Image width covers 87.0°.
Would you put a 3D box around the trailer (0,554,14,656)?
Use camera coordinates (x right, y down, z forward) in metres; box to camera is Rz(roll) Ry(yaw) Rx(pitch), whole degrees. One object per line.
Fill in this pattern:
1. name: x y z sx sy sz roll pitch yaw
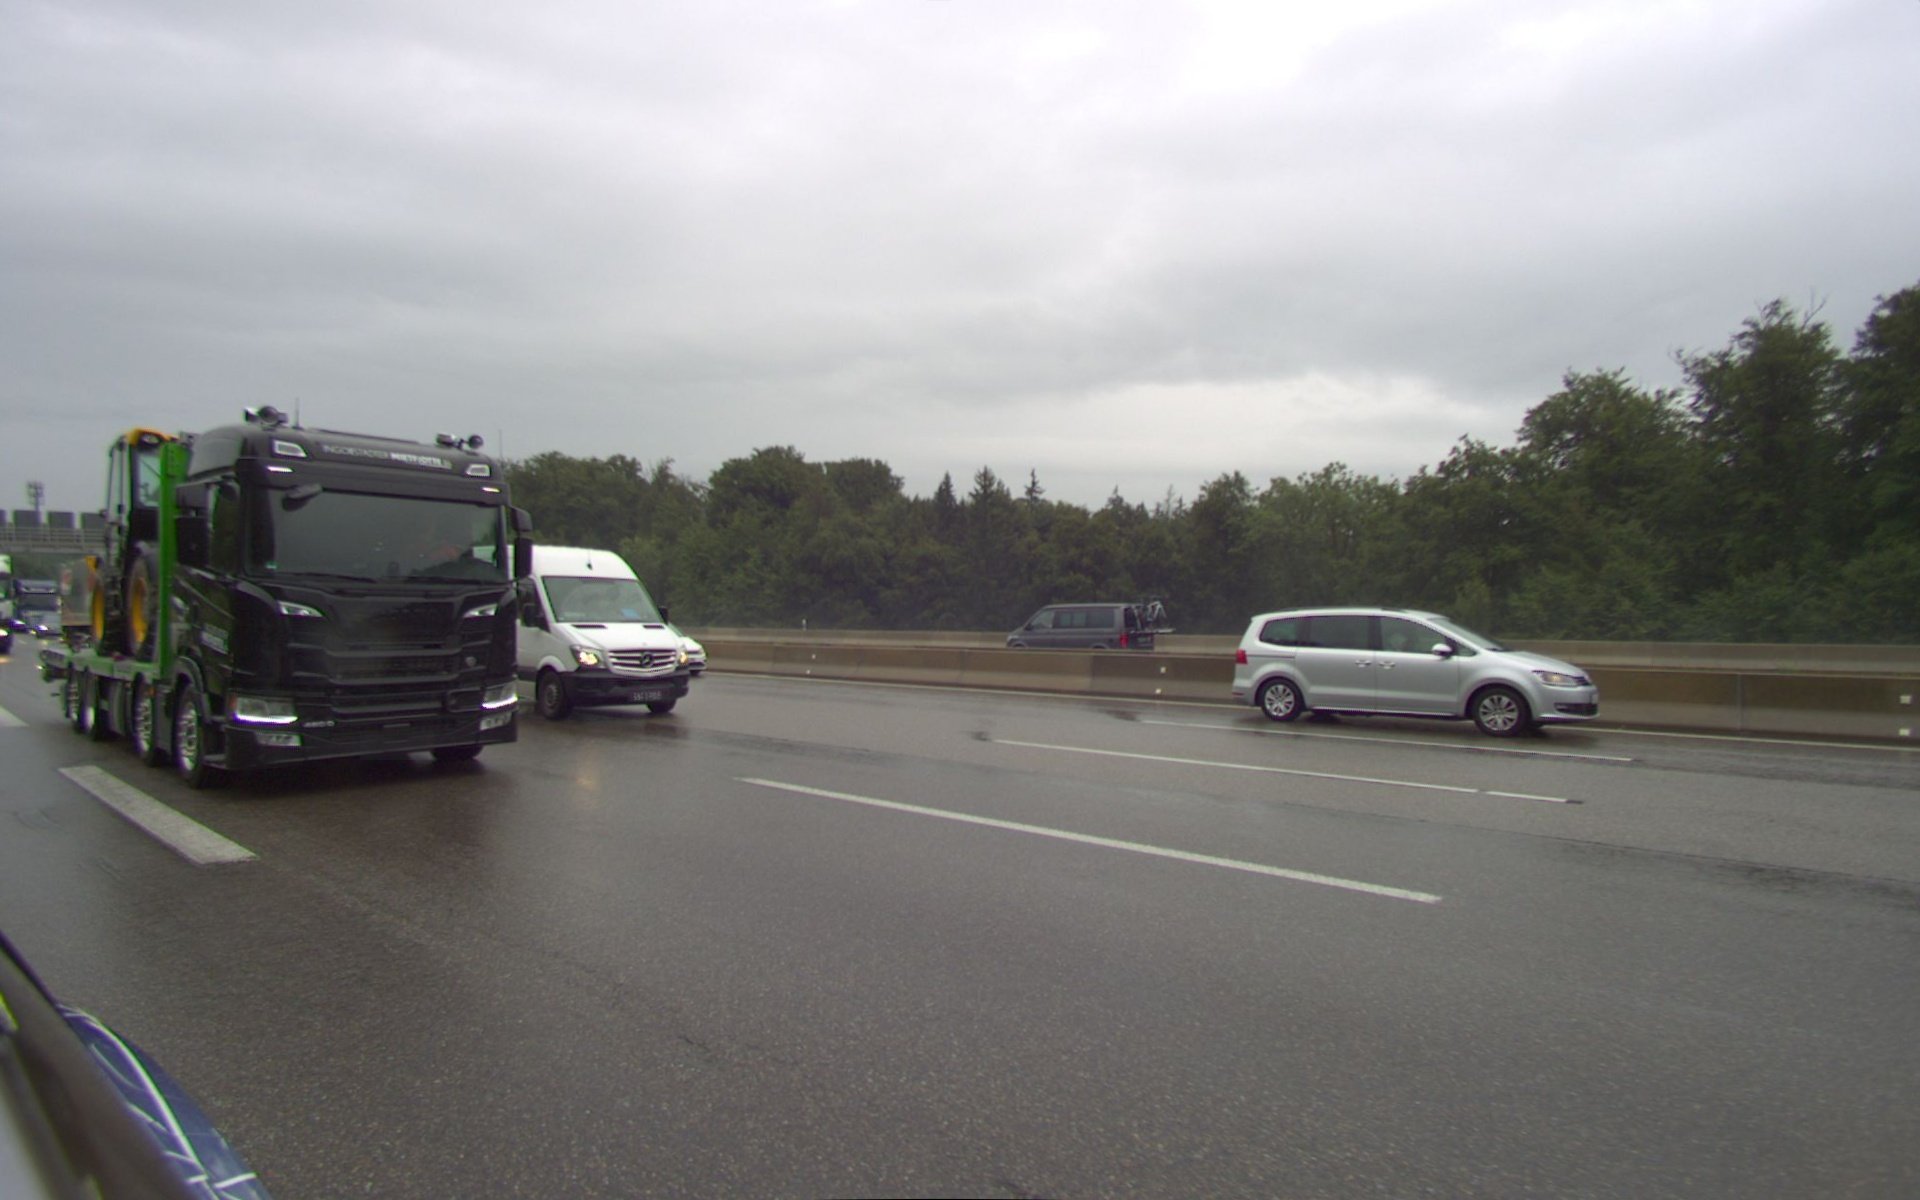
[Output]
1. trailer: -45.342 0.197 46.076 2.885 4.237 13.643 0 0 -45

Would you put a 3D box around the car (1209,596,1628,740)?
1. car: 6.330 0.866 14.409 5.079 1.696 1.973 -1 -2 41

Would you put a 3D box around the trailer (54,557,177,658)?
1. trailer: -37.531 0.342 44.695 13.678 3.893 2.598 -1 -1 44

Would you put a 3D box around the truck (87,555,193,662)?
1. truck: -32.084 0.334 39.559 4.589 3.893 2.598 -1 -1 43

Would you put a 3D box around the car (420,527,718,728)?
1. car: -6.415 0.380 16.142 5.845 2.649 2.191 0 -1 44

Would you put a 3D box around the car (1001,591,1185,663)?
1. car: 3.946 0.727 30.628 5.245 1.892 2.031 1 4 41

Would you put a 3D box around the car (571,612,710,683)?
1. car: -8.626 1.223 27.154 3.998 1.769 1.755 -1 -2 41

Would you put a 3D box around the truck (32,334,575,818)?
1. truck: -8.952 -0.104 12.592 11.796 3.616 2.800 -1 -2 43

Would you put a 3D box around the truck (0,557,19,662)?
1. truck: -40.782 0.374 41.565 2.885 4.130 6.723 0 0 -45

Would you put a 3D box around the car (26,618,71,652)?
1. car: -57.046 2.158 63.326 4.001 1.785 1.739 1 4 44

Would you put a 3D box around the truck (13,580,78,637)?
1. truck: -73.151 0.529 80.814 3.308 4.100 12.584 -4 4 -44
